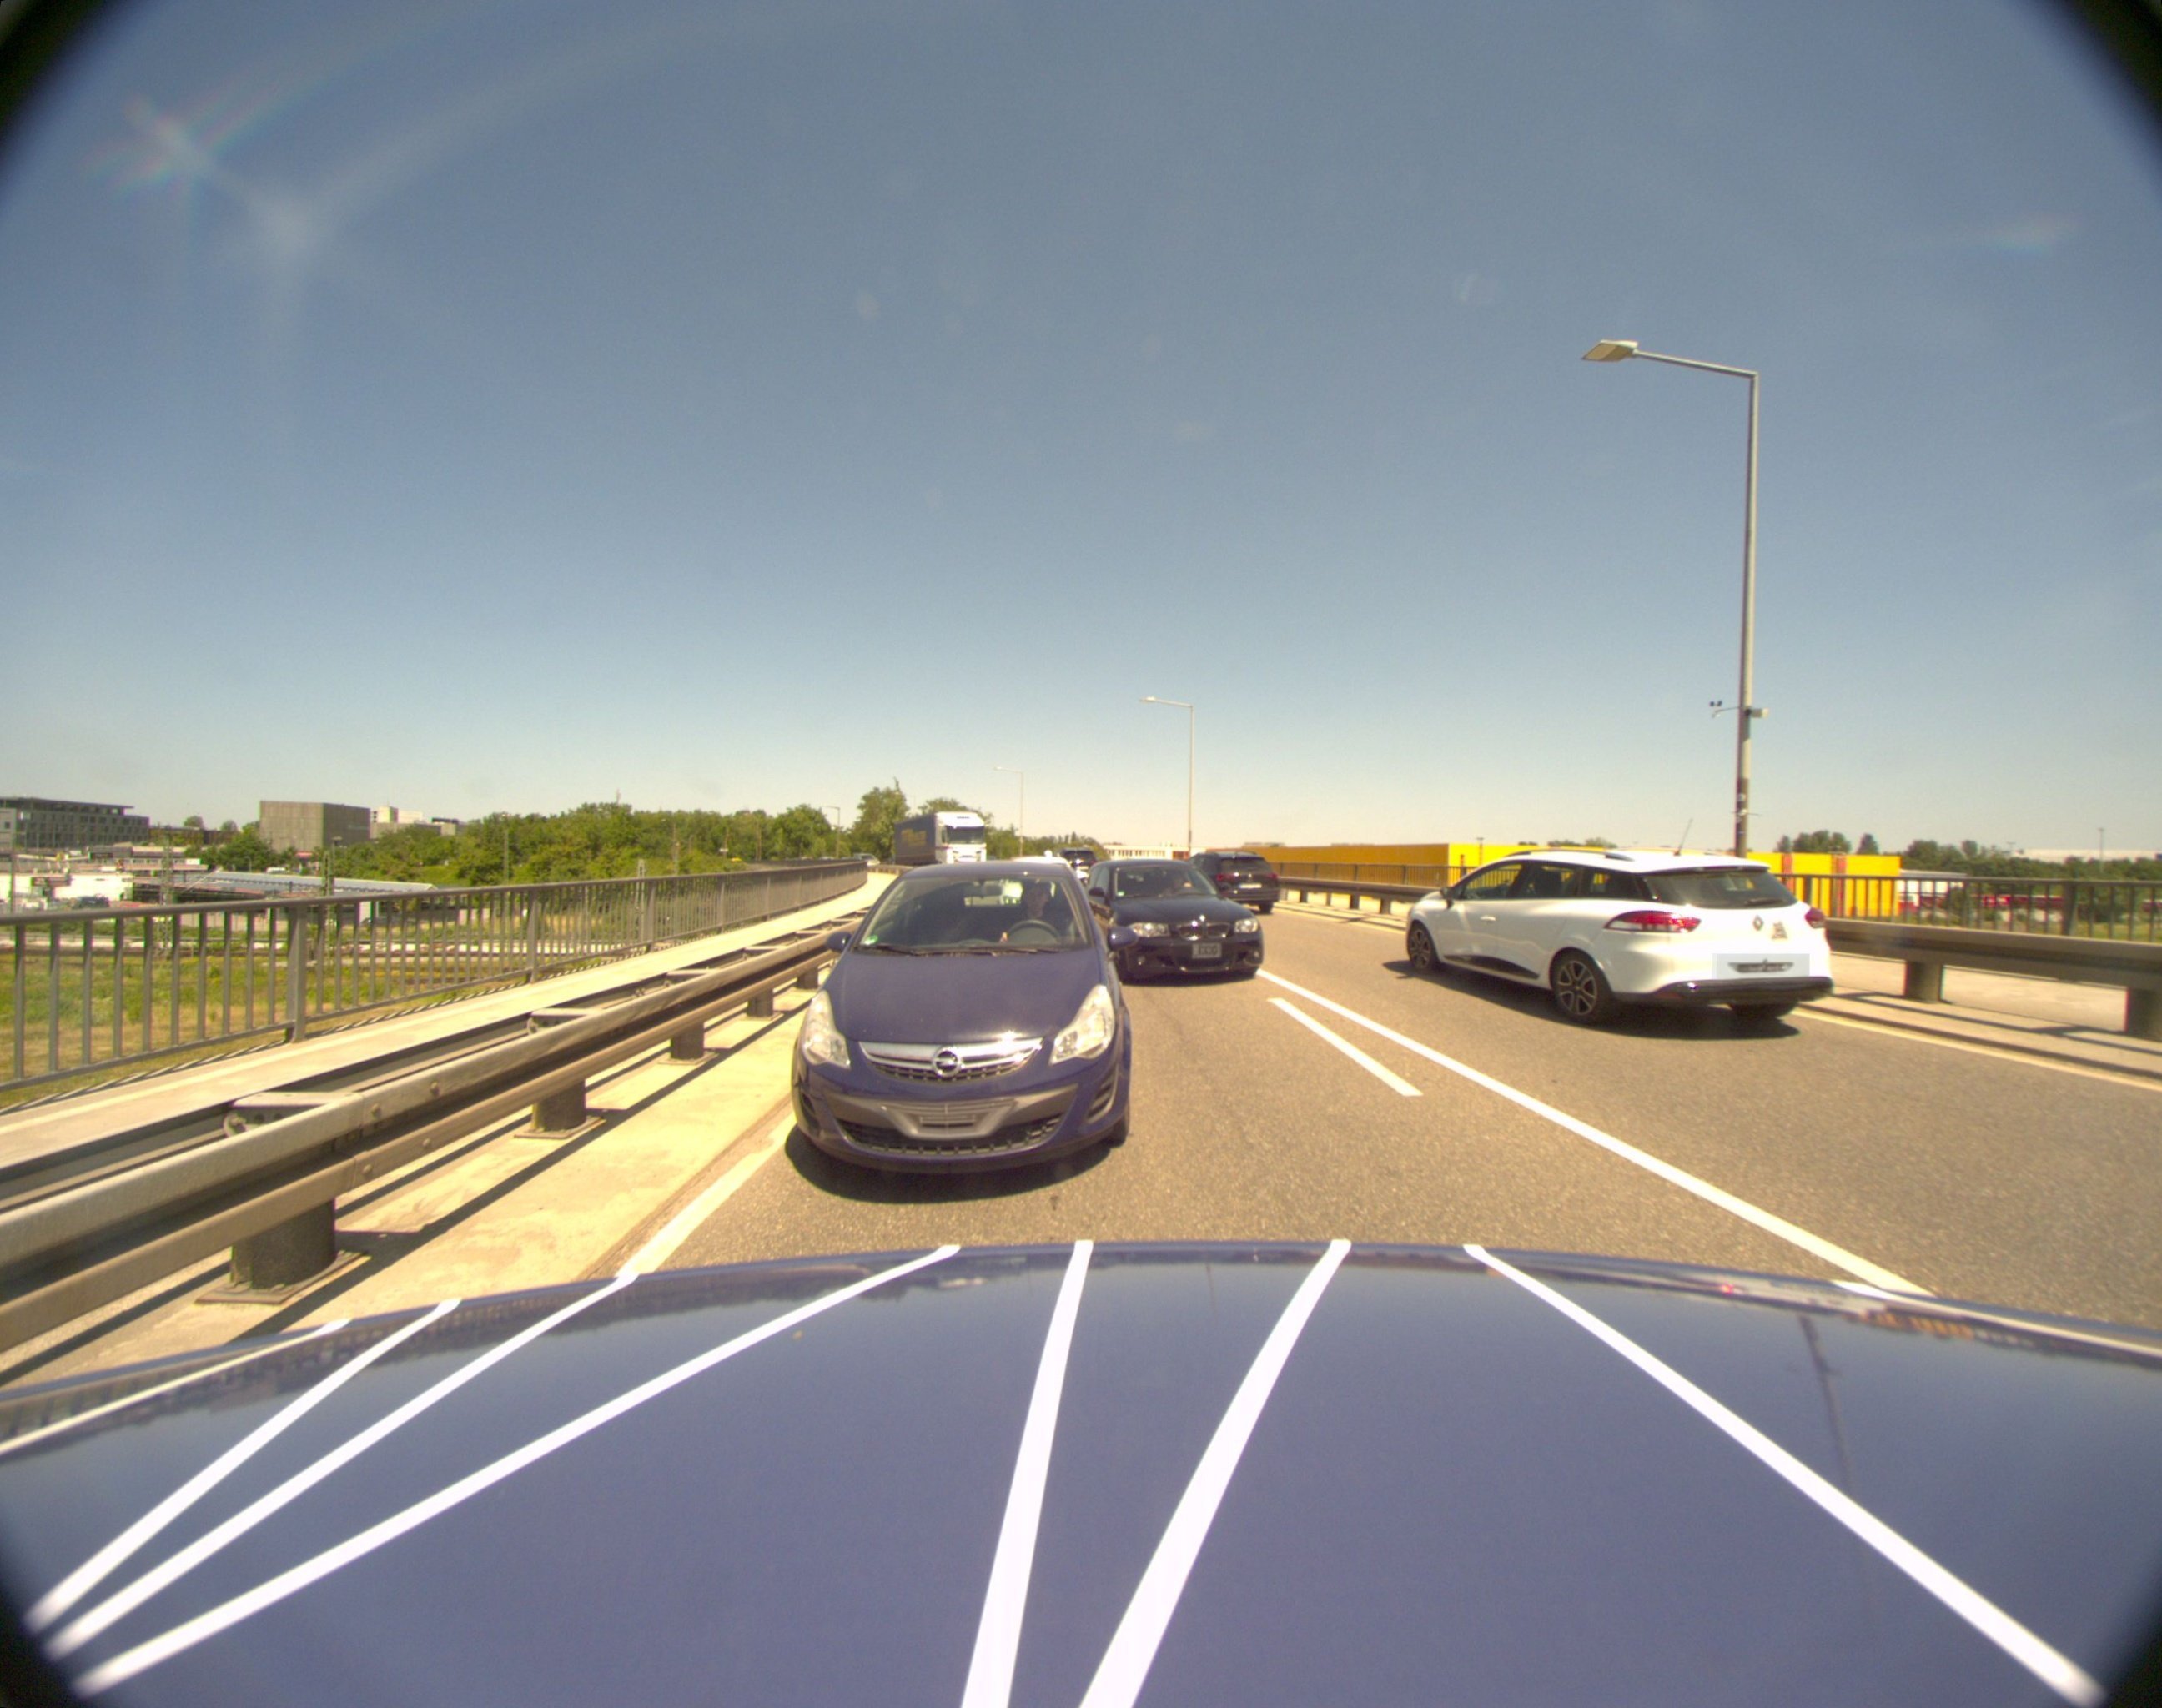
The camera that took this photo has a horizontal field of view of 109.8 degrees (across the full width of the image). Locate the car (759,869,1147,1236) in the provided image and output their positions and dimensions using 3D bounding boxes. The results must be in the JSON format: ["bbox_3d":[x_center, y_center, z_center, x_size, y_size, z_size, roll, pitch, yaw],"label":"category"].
[{"bbox_3d":[-0.666,0.903,5.331,1.645,1.431,3.998,-2,1,-4],"label":"car"}]

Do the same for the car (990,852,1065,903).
[{"bbox_3d":[-1.824,0.693,24.643,1.796,1.446,4.518,-2,0,-11],"label":"car"}]

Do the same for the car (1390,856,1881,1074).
[{"bbox_3d":[4.736,0.782,7.356,1.604,1.441,4.053,-1,1,-4],"label":"car"}]

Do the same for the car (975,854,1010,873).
[{"bbox_3d":[-6.296,0.655,53.818,1.685,1.300,3.966,-1,0,-18],"label":"car"}]

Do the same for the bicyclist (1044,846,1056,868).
[{"bbox_3d":[-2.227,0.219,55.135,0.585,1.512,0.894,-1,1,-20],"label":"bicyclist"}]

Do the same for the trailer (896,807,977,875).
[{"bbox_3d":[-10.481,-0.871,53.583,2.705,4.211,12.686,-2,2,-24],"label":"trailer"}]

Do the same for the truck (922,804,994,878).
[{"bbox_3d":[-7.750,-0.809,47.204,2.699,4.205,6.825,-3,2,-23],"label":"truck"}]

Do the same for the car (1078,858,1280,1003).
[{"bbox_3d":[1.062,0.834,10.471,1.795,1.447,4.520,-1,1,-5],"label":"car"}]

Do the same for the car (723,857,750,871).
[{"bbox_3d":[-49.386,1.418,108.953,3.988,2.002,2.004,0,2,43],"label":"car"}]

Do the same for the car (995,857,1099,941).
[{"bbox_3d":[-0.872,0.830,16.280,1.795,1.447,4.519,-2,1,-7],"label":"car"}]

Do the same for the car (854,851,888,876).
[{"bbox_3d":[-20.303,0.958,73.348,2.002,2.001,3.993,-5,-1,-31],"label":"car"}]

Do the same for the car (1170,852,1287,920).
[{"bbox_3d":[3.535,0.708,19.020,1.715,1.460,4.457,-1,0,-5],"label":"car"}]

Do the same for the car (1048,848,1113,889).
[{"bbox_3d":[-0.109,0.591,34.038,1.973,1.663,4.608,-1,0,-12],"label":"car"}]

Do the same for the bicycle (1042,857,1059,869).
[{"bbox_3d":[-2.224,0.616,55.168,0.590,0.828,1.988,-1,1,-20],"label":"bicycle"}]
